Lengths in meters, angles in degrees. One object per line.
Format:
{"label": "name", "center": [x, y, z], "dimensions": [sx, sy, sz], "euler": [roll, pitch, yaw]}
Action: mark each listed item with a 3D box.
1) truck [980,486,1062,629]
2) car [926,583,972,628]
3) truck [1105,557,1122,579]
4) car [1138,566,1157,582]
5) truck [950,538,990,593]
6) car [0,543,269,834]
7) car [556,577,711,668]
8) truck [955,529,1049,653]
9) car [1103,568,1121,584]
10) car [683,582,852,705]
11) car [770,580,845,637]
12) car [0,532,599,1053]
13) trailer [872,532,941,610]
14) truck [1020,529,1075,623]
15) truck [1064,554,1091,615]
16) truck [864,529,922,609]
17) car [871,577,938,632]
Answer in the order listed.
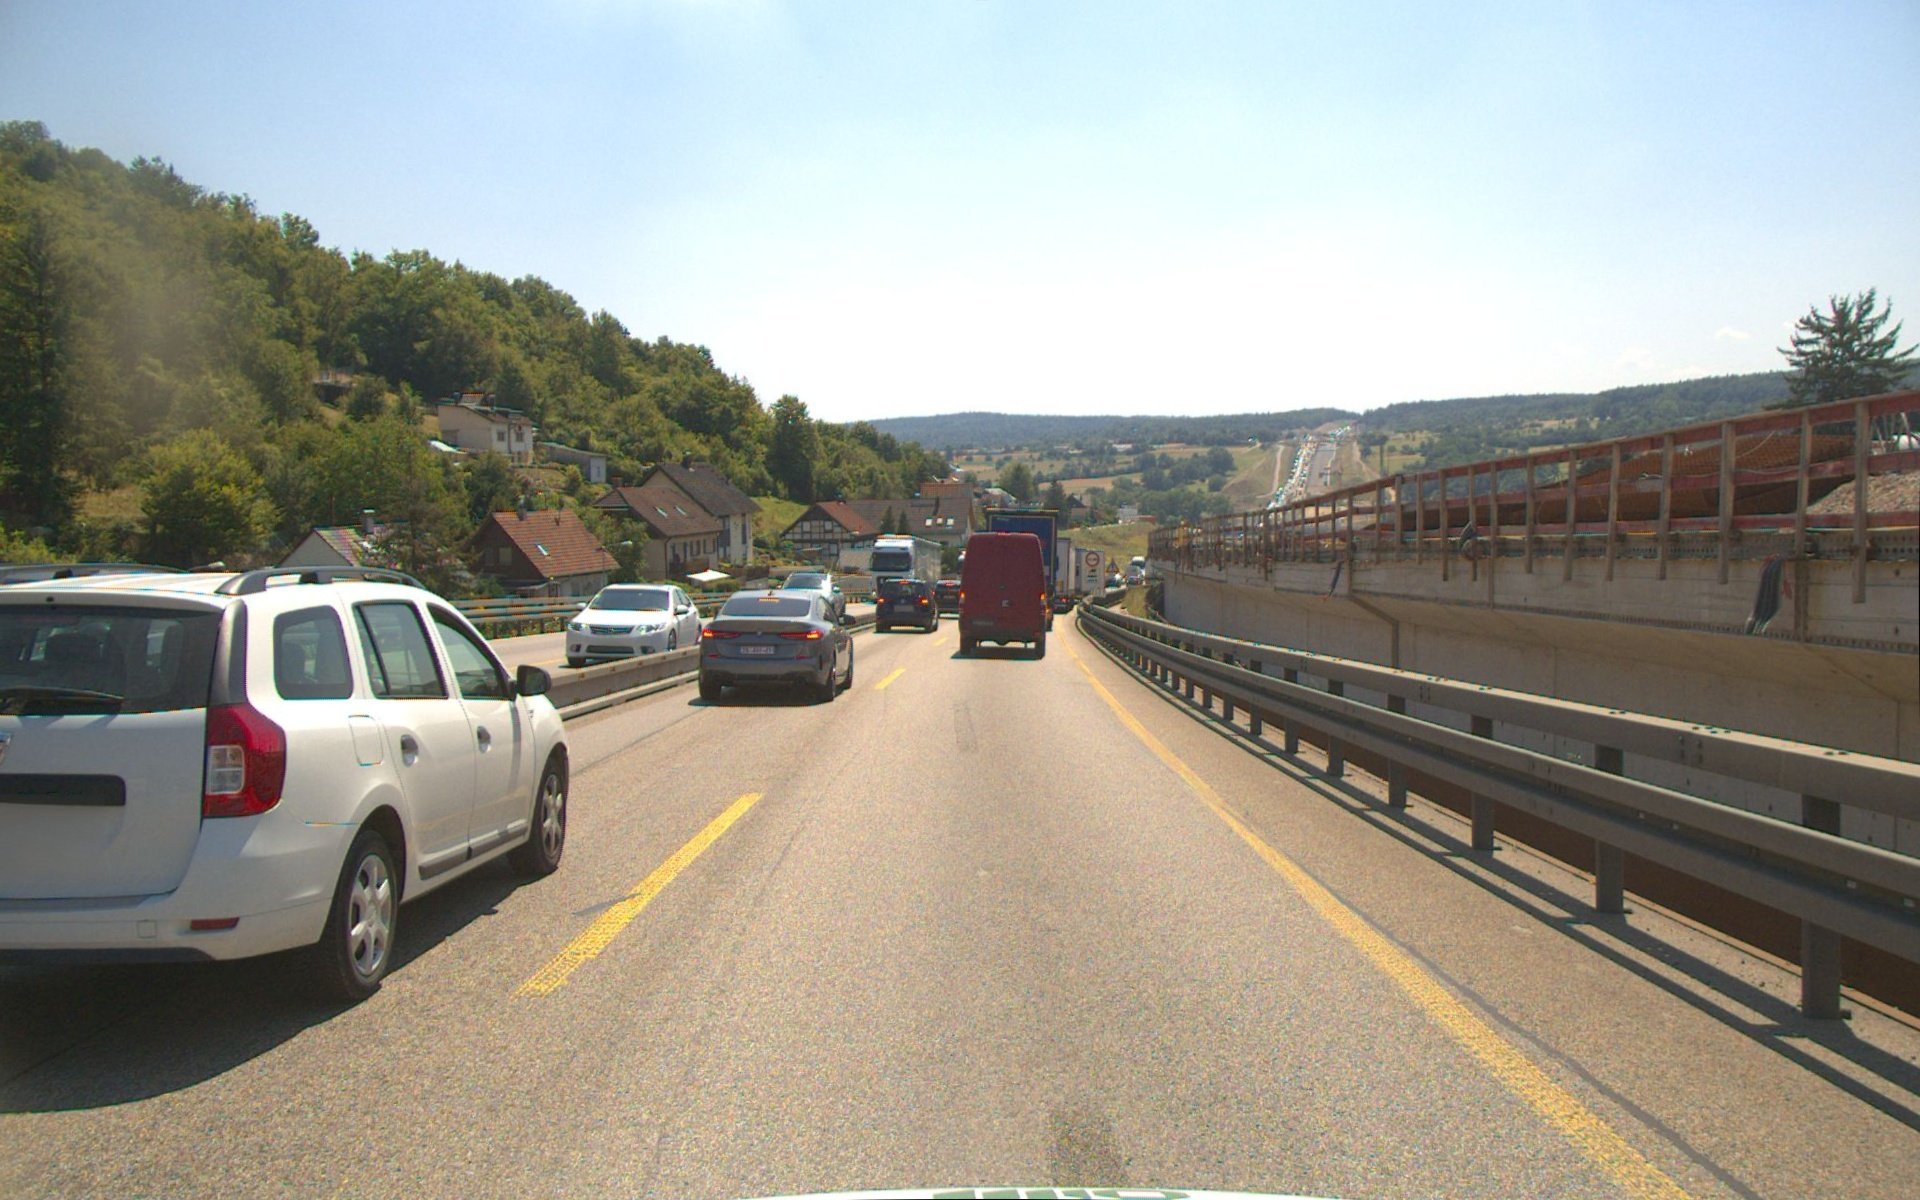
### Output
{"label": "truck", "center": [2.247, -1.453, 62.241], "dimensions": [2.728, 4.900, 9.686], "euler": [1, 0, 1]}
{"label": "car", "center": [-0.437, 0.248, 71.454], "dimensions": [1.693, 1.870, 4.002], "euler": [1, 0, 4]}
{"label": "truck", "center": [12.107, -2.525, 130.581], "dimensions": [1.286, 1.569, 3.153], "euler": [1, 0, 5]}
{"label": "car", "center": [25.378, -3.547, 223.682], "dimensions": [2.086, 2.049, 4.003], "euler": [1, 0, 12]}
{"label": "truck", "center": [0.901, -2.999, 146.219], "dimensions": [2.786, 4.660, 5.791], "euler": [1, 0, 6]}
{"label": "car", "center": [-6.333, 0.481, 11.031], "dimensions": [1.703, 1.670, 4.001], "euler": [1, 0, 1]}
{"label": "car", "center": [-5.917, 0.362, 30.498], "dimensions": [1.872, 1.512, 4.478], "euler": [1, 0, 1]}
{"label": "truck", "center": [0.971, -0.184, 37.498], "dimensions": [1.952, 2.623, 4.001], "euler": [1, 0, 2]}
{"label": "car", "center": [19.351, -3.031, 210.121], "dimensions": [1.765, 2.048, 4.004], "euler": [2, 1, 11]}
{"label": "car", "center": [-2.525, 0.527, 22.606], "dimensions": [1.757, 1.511, 4.050], "euler": [1, 0, 1]}
{"label": "car", "center": [-4.930, 0.242, 53.974], "dimensions": [1.872, 1.735, 4.737], "euler": [1, 0, 1]}
{"label": "car", "center": [-2.835, 0.575, 6.966], "dimensions": [1.617, 1.509, 4.267], "euler": [-1, 0, 1]}
{"label": "trailer", "center": [-3.448, -1.818, 112.064], "dimensions": [3.000, 4.900, 14.009], "euler": [1, 0, 5]}
{"label": "truck", "center": [4.786, -1.226, 92.155], "dimensions": [2.728, 4.900, 9.686], "euler": [1, 0, 1]}
{"label": "truck", "center": [8.782, -1.108, 123.437], "dimensions": [1.951, 4.458, 4.002], "euler": [1, -1, 4]}
{"label": "truck", "center": [-4.192, -1.901, 104.522], "dimensions": [2.996, 4.906, 4.648], "euler": [1, 0, 4]}
{"label": "car", "center": [-1.713, 0.150, 52.252], "dimensions": [1.772, 1.636, 3.720], "euler": [1, 0, 2]}
